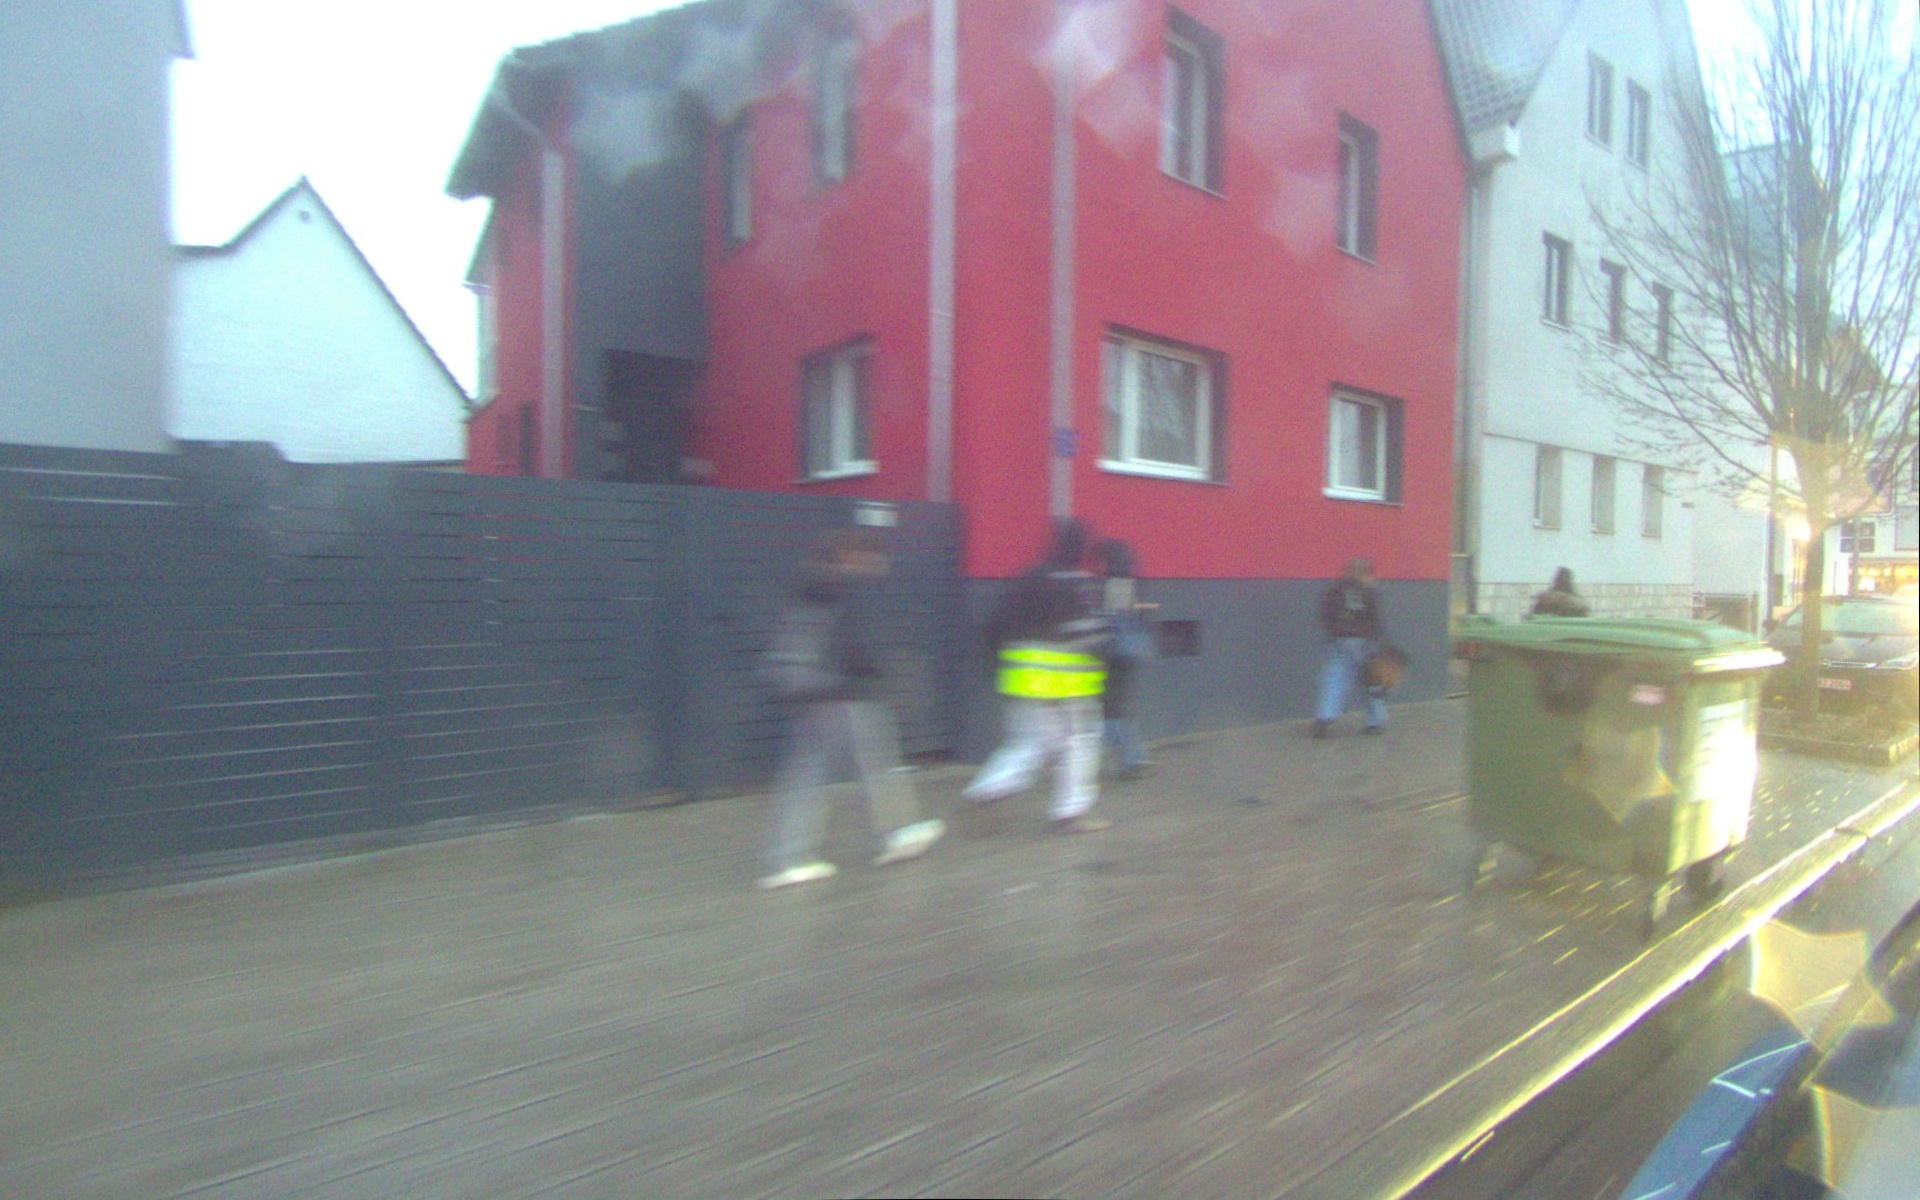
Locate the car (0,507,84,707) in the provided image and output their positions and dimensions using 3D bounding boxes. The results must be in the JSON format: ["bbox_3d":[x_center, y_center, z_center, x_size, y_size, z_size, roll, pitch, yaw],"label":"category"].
[{"bbox_3d":[-8.547,0.047,7.710,1.850,1.613,4.008,1,2,-26],"label":"car"}]

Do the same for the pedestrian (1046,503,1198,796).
[{"bbox_3d":[1.077,0.305,6.738,0.847,1.823,0.531,0,0,-30],"label":"pedestrian"}]

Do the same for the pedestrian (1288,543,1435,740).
[{"bbox_3d":[3.691,0.344,9.310,1.032,1.699,0.750,1,2,-34],"label":"pedestrian"}]

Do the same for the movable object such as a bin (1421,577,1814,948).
[{"bbox_3d":[3.205,0.653,4.947,1.391,1.437,1.133,1,4,-38],"label":"movable object such as a bin"}]

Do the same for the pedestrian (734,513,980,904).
[{"bbox_3d":[-0.474,0.452,4.742,0.999,1.650,0.481,1,2,-34],"label":"pedestrian"}]

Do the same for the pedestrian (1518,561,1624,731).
[{"bbox_3d":[6.377,0.449,10.562,0.935,1.673,0.531,-3,1,-30],"label":"pedestrian"}]

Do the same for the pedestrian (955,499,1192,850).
[{"bbox_3d":[0.606,0.360,5.536,1.013,1.736,0.716,1,2,-26],"label":"pedestrian"}]

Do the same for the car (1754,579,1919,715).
[{"bbox_3d":[12.312,0.540,13.476,4.121,1.482,1.734,0,4,-38],"label":"car"}]
